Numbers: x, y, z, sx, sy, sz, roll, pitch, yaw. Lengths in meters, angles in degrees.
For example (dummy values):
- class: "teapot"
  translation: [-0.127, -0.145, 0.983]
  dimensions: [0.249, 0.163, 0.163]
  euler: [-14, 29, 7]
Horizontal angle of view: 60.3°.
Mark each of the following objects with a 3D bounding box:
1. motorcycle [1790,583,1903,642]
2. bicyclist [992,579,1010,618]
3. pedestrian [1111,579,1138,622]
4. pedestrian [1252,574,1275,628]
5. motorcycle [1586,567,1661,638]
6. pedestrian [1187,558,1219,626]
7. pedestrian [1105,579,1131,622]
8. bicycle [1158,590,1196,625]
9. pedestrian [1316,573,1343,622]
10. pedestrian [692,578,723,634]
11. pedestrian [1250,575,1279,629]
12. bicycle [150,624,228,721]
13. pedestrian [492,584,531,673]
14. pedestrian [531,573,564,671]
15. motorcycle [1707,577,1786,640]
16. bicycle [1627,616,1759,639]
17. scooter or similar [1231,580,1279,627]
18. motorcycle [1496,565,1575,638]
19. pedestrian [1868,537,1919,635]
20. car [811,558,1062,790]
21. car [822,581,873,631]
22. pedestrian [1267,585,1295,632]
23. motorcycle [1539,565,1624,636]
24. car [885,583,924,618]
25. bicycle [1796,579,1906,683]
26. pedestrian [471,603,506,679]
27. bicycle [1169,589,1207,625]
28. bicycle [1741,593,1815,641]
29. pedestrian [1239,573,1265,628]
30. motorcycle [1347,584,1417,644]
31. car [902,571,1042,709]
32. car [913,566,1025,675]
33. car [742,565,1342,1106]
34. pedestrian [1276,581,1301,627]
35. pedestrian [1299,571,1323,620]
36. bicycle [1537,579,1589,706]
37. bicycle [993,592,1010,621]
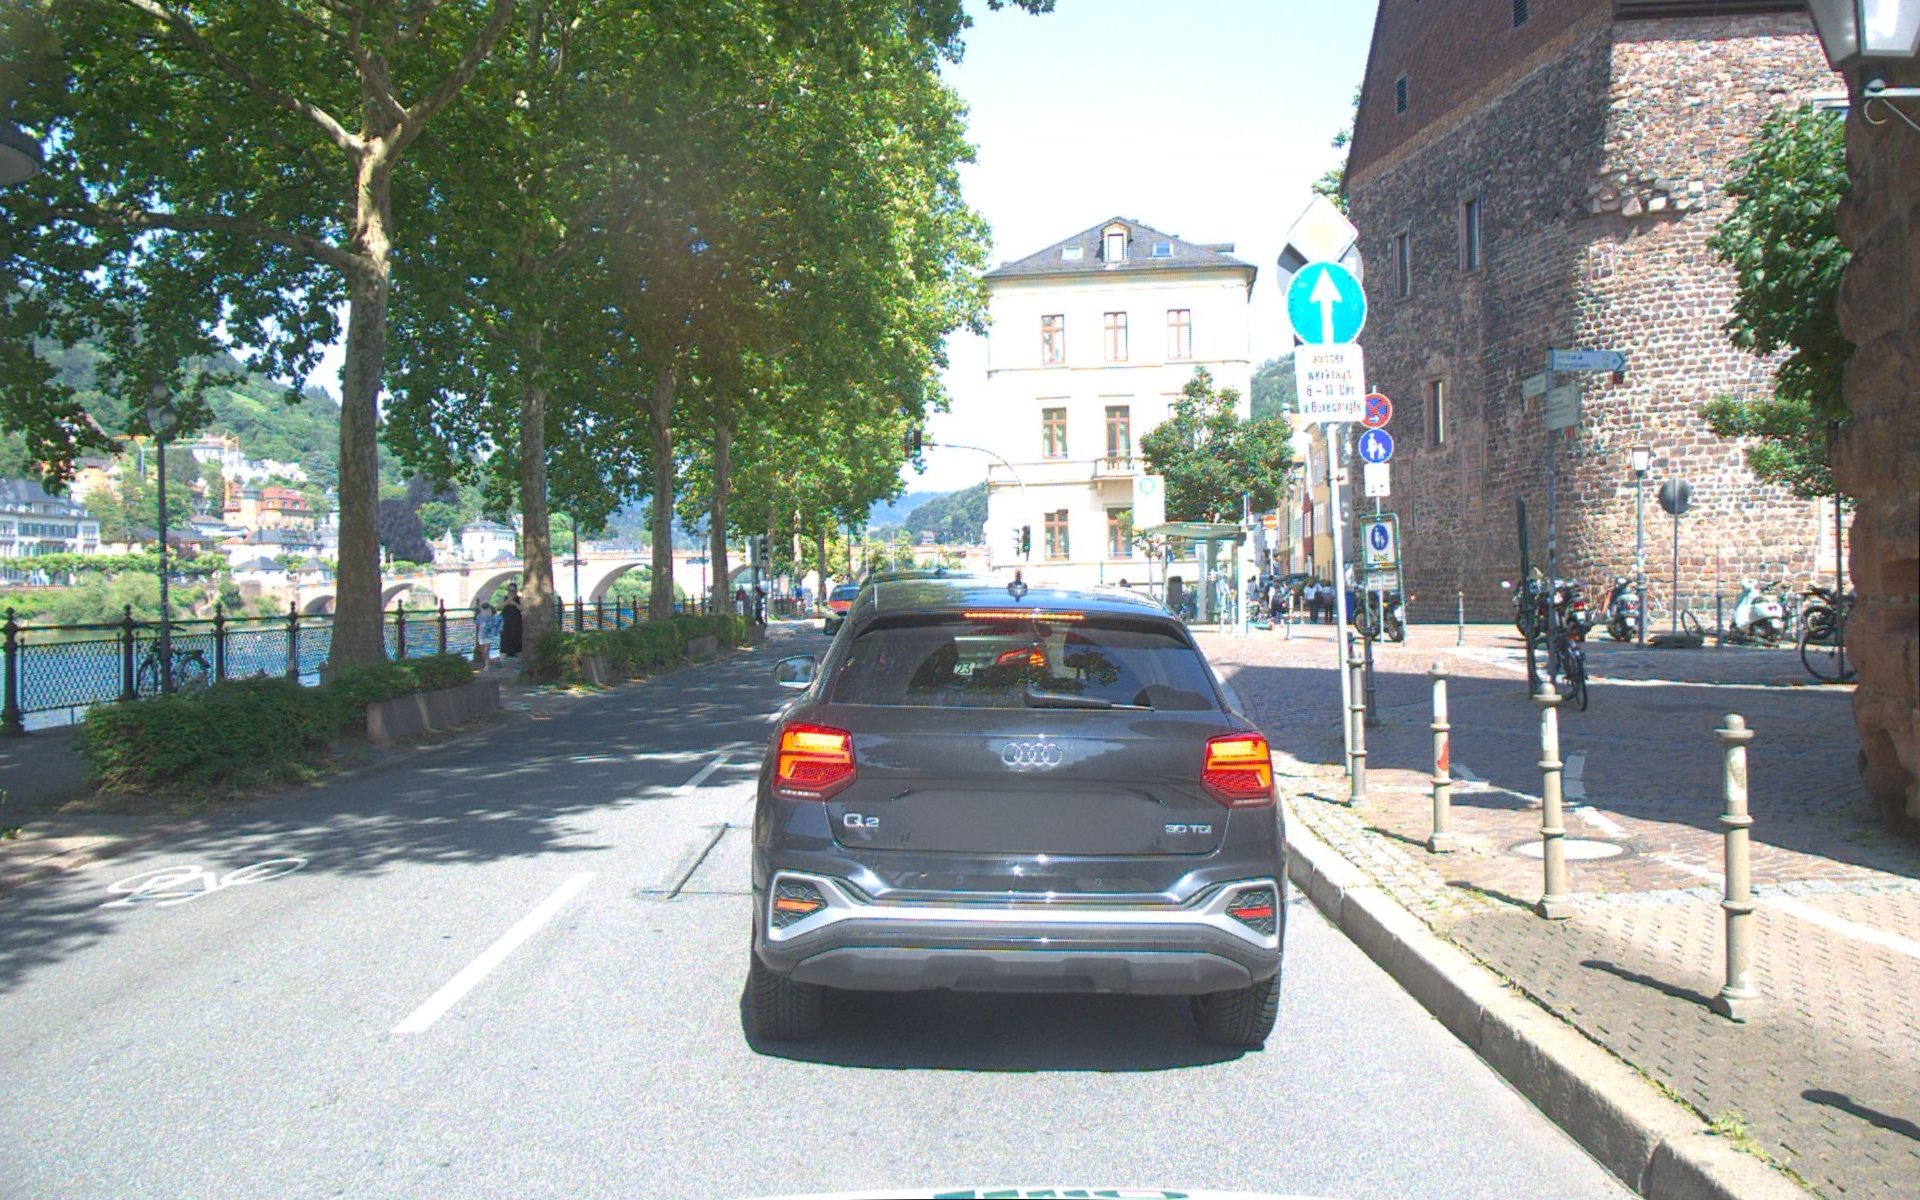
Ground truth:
- class: "motorcycle"
  translation: [16.786, 0.237, 31.337]
  dimensions: [1.826, 1.072, 0.480]
  euler: [1, -1, 7]
- class: "bicyclist"
  translation: [1.564, -0.060, 62.540]
  dimensions: [0.593, 1.475, 0.590]
  euler: [1, -1, -6]
- class: "pedestrian"
  translation: [4.785, 0.030, 48.160]
  dimensions: [0.651, 1.233, 0.640]
  euler: [1, -1, -7]
- class: "pedestrian"
  translation: [13.639, 0.033, 74.271]
  dimensions: [0.861, 2.399, 0.745]
  euler: [1, -1, -1]
- class: "motorcycle"
  translation: [12.222, 0.051, 30.537]
  dimensions: [0.535, 1.257, 2.030]
  euler: [1, 0, -1]
- class: "pedestrian"
  translation: [6.180, -0.213, 42.091]
  dimensions: [0.641, 1.691, 0.809]
  euler: [-1, 0, -3]
- class: "pedestrian"
  translation: [4.671, 0.006, 48.933]
  dimensions: [0.651, 1.253, 0.640]
  euler: [1, -1, -7]
- class: "bicycle"
  translation: [6.529, 0.215, 49.701]
  dimensions: [1.166, 1.033, 0.178]
  euler: [1, -1, -20]
- class: "pedestrian"
  translation: [12.817, -0.092, 57.438]
  dimensions: [0.677, 1.640, 0.891]
  euler: [-2, 0, -1]
- class: "pedestrian"
  translation: [-8.487, 0.202, 55.572]
  dimensions: [0.891, 1.843, 0.586]
  euler: [1, 0, 3]
- class: "pedestrian"
  translation: [11.850, 0.083, 64.364]
  dimensions: [0.922, 2.049, 0.806]
  euler: [1, -1, -6]
- class: "bicycle"
  translation: [-9.528, 0.877, 20.470]
  dimensions: [0.352, 1.110, 1.295]
  euler: [2, 0, -2]
- class: "pedestrian"
  translation: [-8.830, 0.556, 32.593]
  dimensions: [0.589, 1.715, 0.583]
  euler: [-1, 0, -2]
- class: "pedestrian"
  translation: [-8.160, 0.430, 32.737]
  dimensions: [0.523, 1.920, 0.436]
  euler: [1, 0, -1]
- class: "motorcycle"
  translation: [14.020, 0.150, 29.525]
  dimensions: [0.496, 1.092, 1.840]
  euler: [1, 0, -1]
- class: "bicycle"
  translation: [12.293, 0.461, 27.781]
  dimensions: [1.887, 0.388, 0.918]
  euler: [0, -1, 14]
- class: "scooter or similar"
  translation: [7.051, 0.084, 39.520]
  dimensions: [1.067, 1.084, 0.323]
  euler: [1, -1, -3]
- class: "motorcycle"
  translation: [10.488, 0.035, 30.233]
  dimensions: [0.642, 1.288, 2.199]
  euler: [0, 0, -1]
- class: "pedestrian"
  translation: [19.844, -0.289, 35.028]
  dimensions: [0.856, 2.049, 0.733]
  euler: [1, -1, 8]
- class: "car"
  translation: [-0.188, 0.515, 13.451]
  dimensions: [1.756, 1.623, 3.398]
  euler: [1, 0, -1]
- class: "car"
  translation: [-4.196, 0.199, 62.205]
  dimensions: [1.639, 1.689, 4.222]
  euler: [-3, 0, -1]
- class: "pedestrian"
  translation: [10.351, 0.270, 53.405]
  dimensions: [0.626, 1.469, 0.797]
  euler: [-2, 0, -7]
- class: "motorcycle"
  translation: [11.432, 0.017, 30.511]
  dimensions: [0.661, 1.257, 2.312]
  euler: [1, 0, -1]
- class: "car"
  translation: [-3.004, 0.053, 90.502]
  dimensions: [1.952, 1.838, 4.000]
  euler: [1, 0, 1]
- class: "bicycle"
  translation: [10.621, 0.346, 19.771]
  dimensions: [0.437, 1.182, 1.731]
  euler: [-1, 1, 3]
- class: "pedestrian"
  translation: [-8.754, 0.752, 30.698]
  dimensions: [0.469, 1.386, 0.417]
  euler: [2, 0, 3]
- class: "bicycle"
  translation: [6.767, 0.202, 49.071]
  dimensions: [1.184, 1.053, 0.178]
  euler: [1, -1, -20]
- class: "bicycle"
  translation: [15.133, 0.293, 30.629]
  dimensions: [0.346, 0.835, 1.926]
  euler: [1, 1, -2]
- class: "pedestrian"
  translation: [7.572, 0.013, 42.894]
  dimensions: [0.546, 1.409, 0.588]
  euler: [1, -1, 1]
- class: "motorcycle"
  translation: [7.698, 0.237, 30.259]
  dimensions: [0.555, 1.030, 2.489]
  euler: [-1, 1, -2]
- class: "car"
  translation: [0.116, 0.459, 21.528]
  dimensions: [1.676, 1.637, 3.654]
  euler: [0, 0, -1]
- class: "car"
  translation: [0.120, 0.306, 28.340]
  dimensions: [1.758, 1.711, 3.999]
  euler: [1, 0, -1]
- class: "car"
  translation: [0.213, 0.661, 6.595]
  dimensions: [1.707, 1.535, 3.646]
  euler: [1, 1, -1]
- class: "pedestrian"
  translation: [14.712, 0.193, 74.116]
  dimensions: [0.925, 2.049, 0.807]
  euler: [1, -1, -1]
- class: "pedestrian"
  translation: [12.226, -0.153, 57.661]
  dimensions: [0.595, 1.647, 0.710]
  euler: [-3, 0, -1]
- class: "bicycle"
  translation: [6.145, 0.401, 16.882]
  dimensions: [0.189, 1.225, 1.771]
  euler: [0, 1, 10]
- class: "bicycle"
  translation: [1.562, 0.244, 62.465]
  dimensions: [0.428, 1.105, 1.675]
  euler: [1, 0, -5]
